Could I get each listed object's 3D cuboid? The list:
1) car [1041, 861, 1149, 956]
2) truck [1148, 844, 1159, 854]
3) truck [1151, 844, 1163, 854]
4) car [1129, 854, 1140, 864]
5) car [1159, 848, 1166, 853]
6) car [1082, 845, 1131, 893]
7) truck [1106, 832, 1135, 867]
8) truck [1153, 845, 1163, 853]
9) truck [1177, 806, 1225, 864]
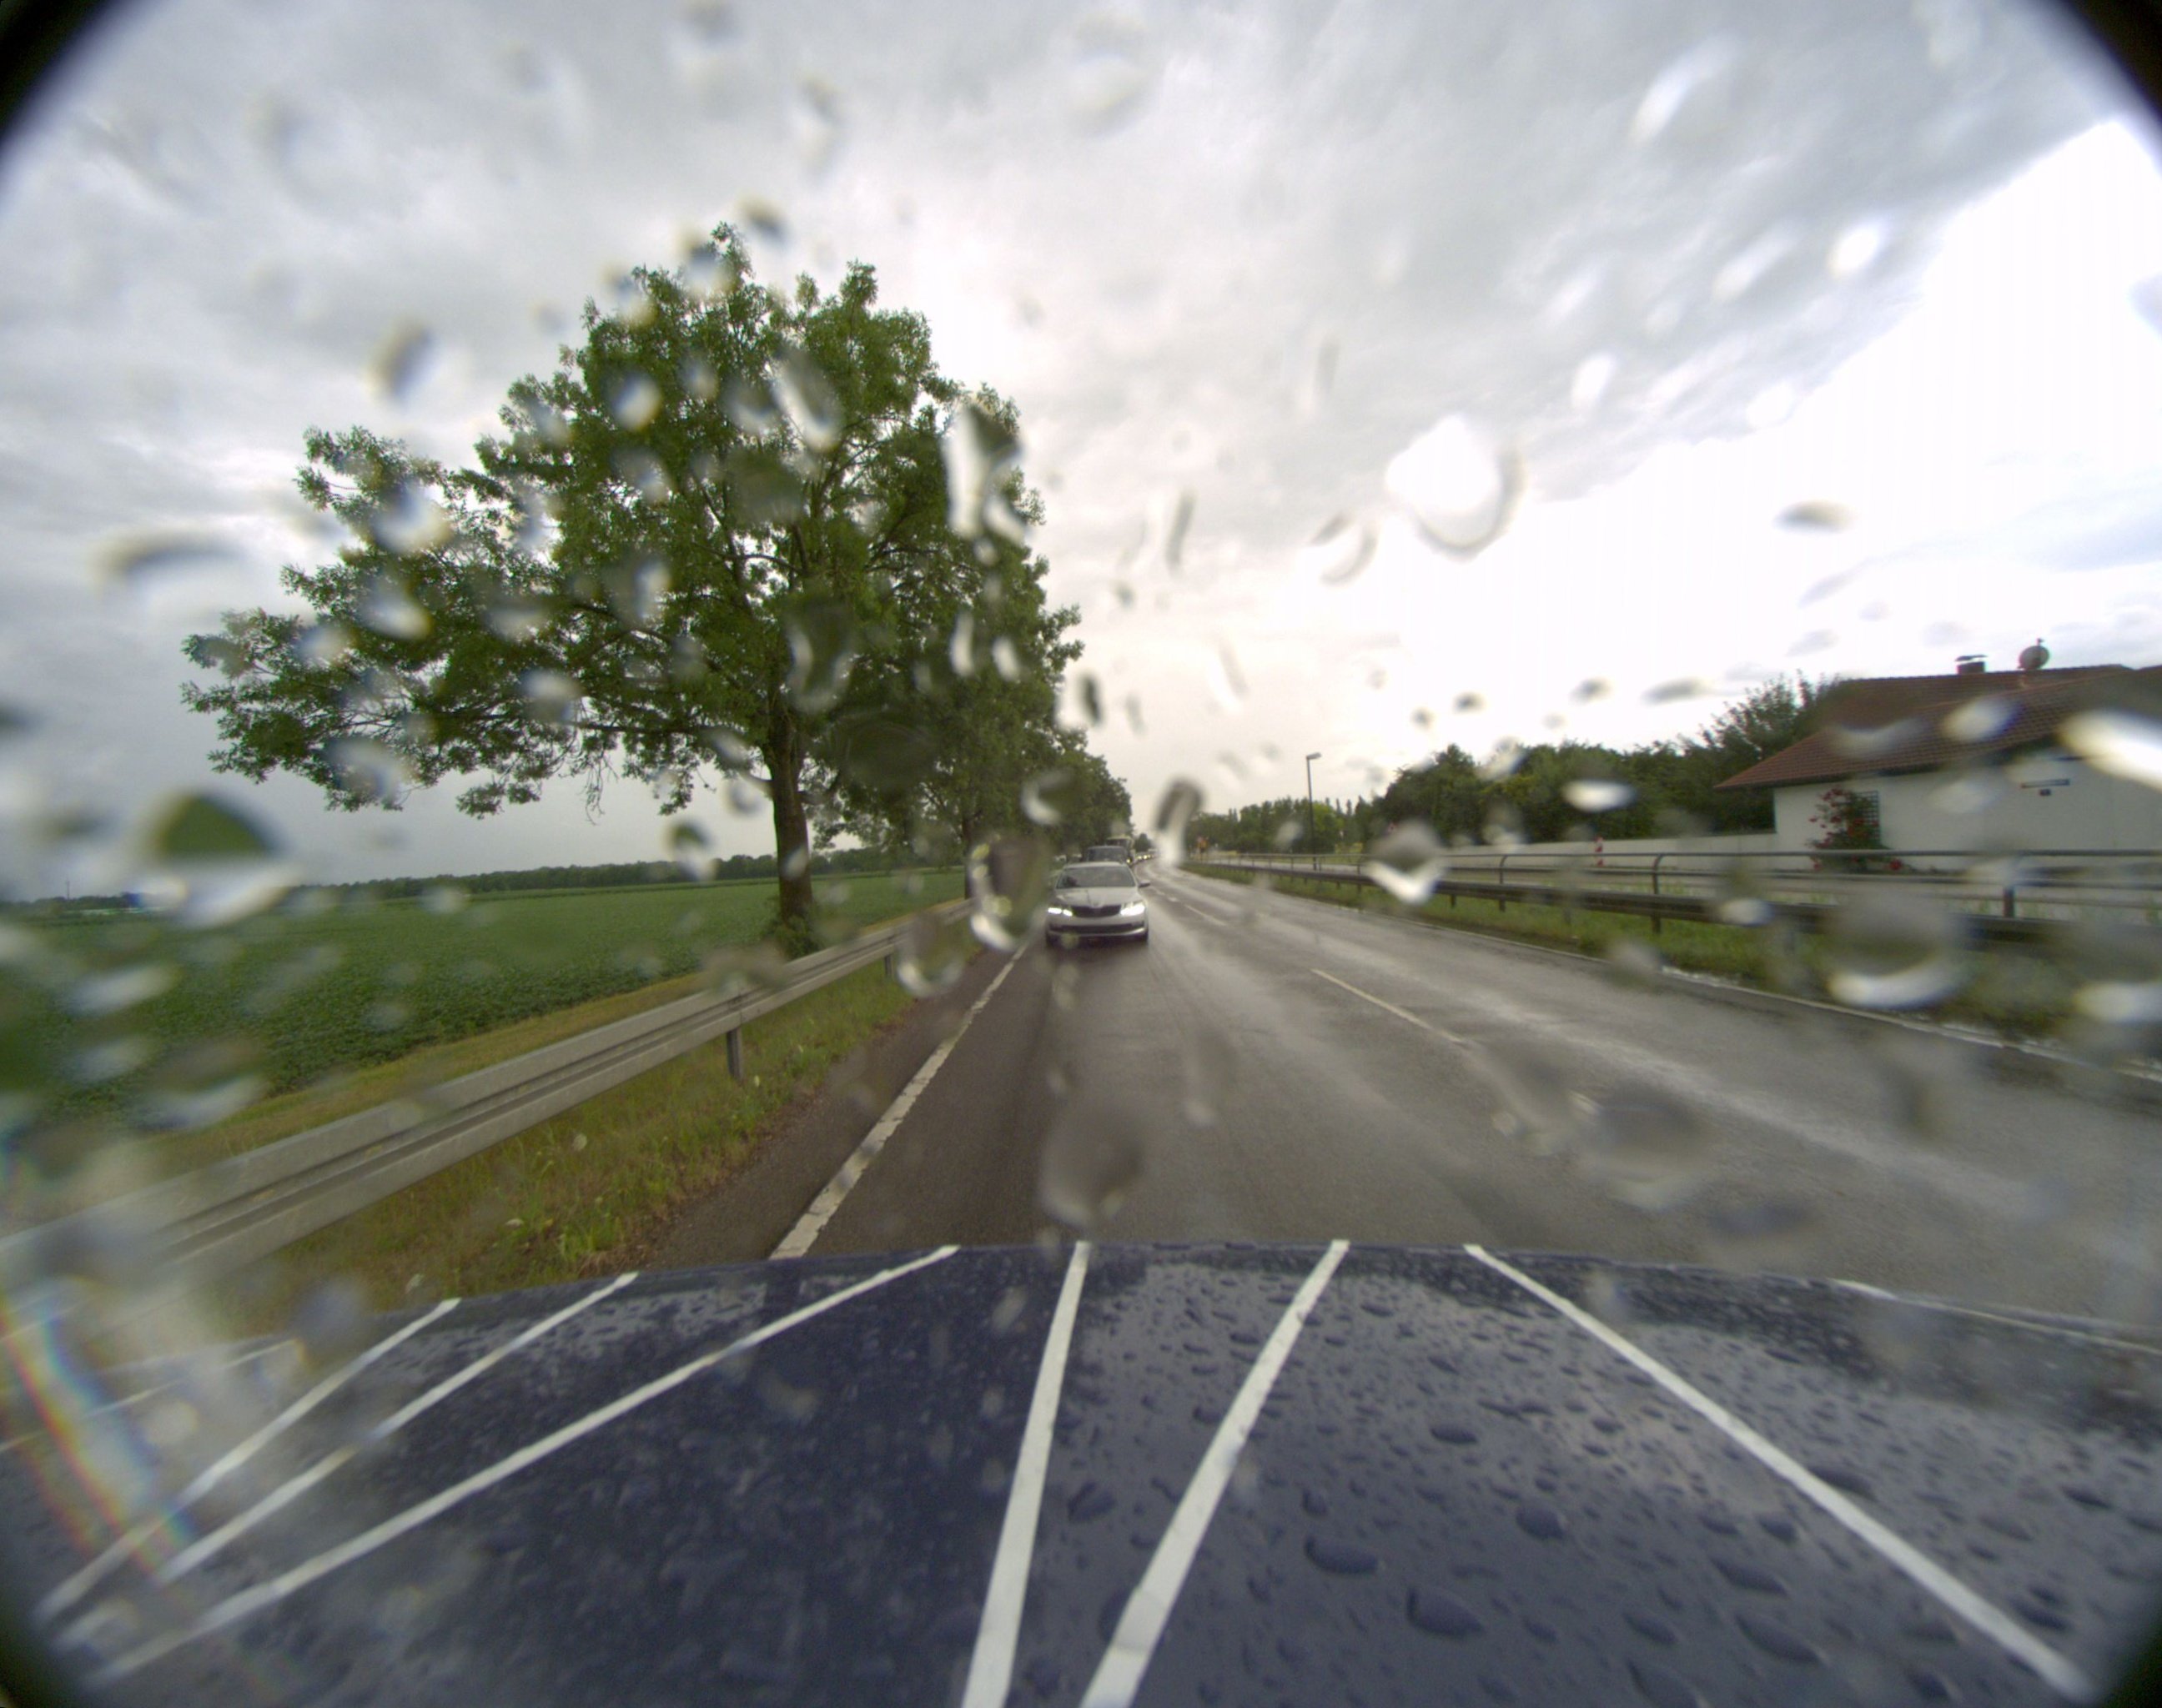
[{"bbox_3d":[0.216,0.893,14.192,1.705,1.438,4.000,-1,0,0],"label":"car"},{"bbox_3d":[20.210,-1.344,211.531,2.800,2.461,7.169,-3,0,3],"label":"truck"},{"bbox_3d":[19.472,-1.281,194.906,2.800,2.461,7.169,-3,0,3],"label":"truck"},{"bbox_3d":[8.806,0.819,124.836,1.690,1.572,3.784,-3,0,3],"label":"car"},{"bbox_3d":[27.525,-1.111,257.435,1.811,1.723,4.027,-3,0,1],"label":"car"},{"bbox_3d":[1.005,0.589,32.099,1.903,1.884,4.000,-1,0,0],"label":"car"},{"bbox_3d":[4.257,-0.456,83.863,2.751,3.547,8.386,-3,0,1],"label":"truck"},{"bbox_3d":[24.233,-1.624,239.699,2.800,2.461,7.169,-3,0,3],"label":"truck"},{"bbox_3d":[11.214,-1.705,71.783,3.256,5.004,7.784,-4,0,2],"label":"truck"}]
